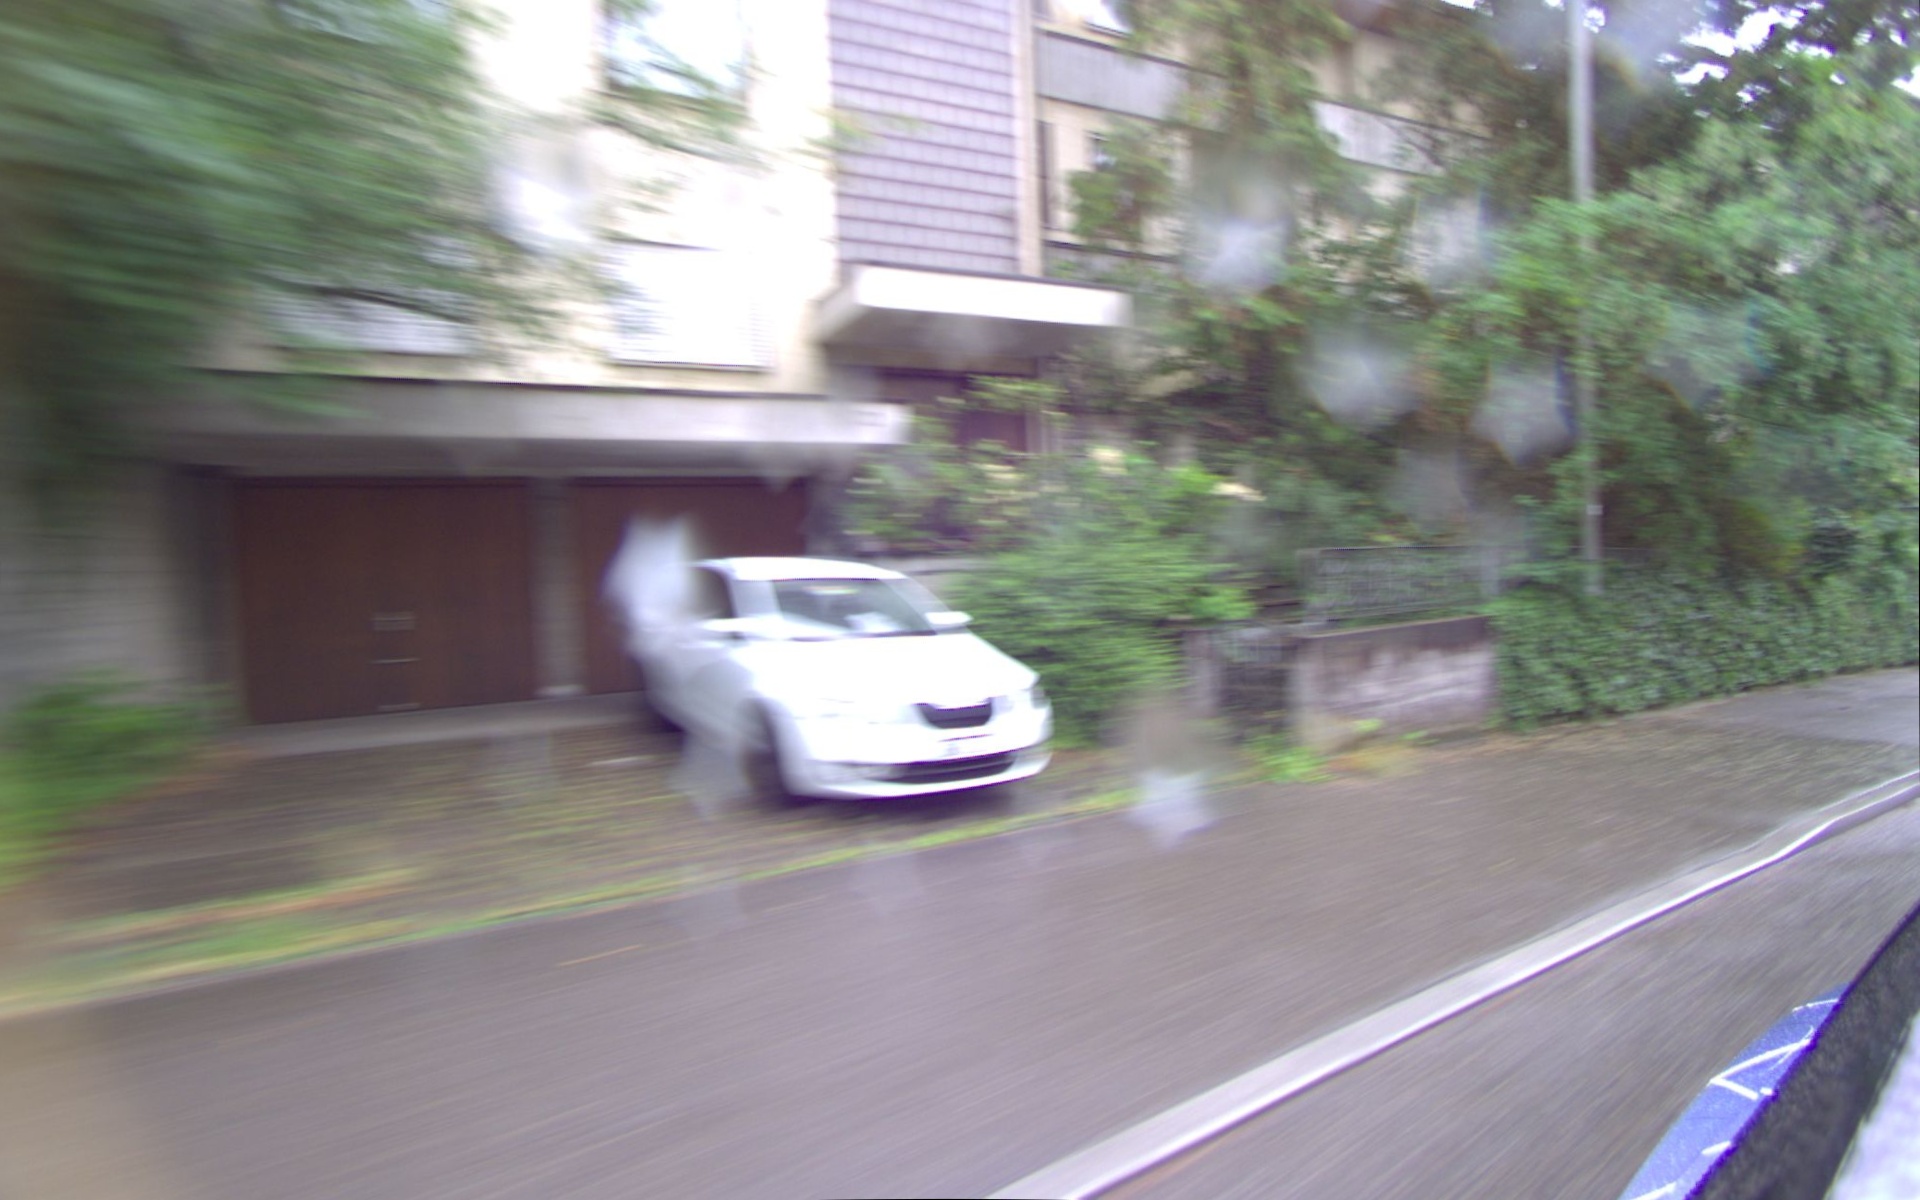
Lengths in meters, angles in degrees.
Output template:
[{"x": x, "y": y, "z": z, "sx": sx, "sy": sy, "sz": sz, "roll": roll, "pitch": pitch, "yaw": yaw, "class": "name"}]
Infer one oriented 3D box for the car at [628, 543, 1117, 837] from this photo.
[{"x": -0.951, "y": 0.363, "z": 7.507, "sx": 1.867, "sy": 1.494, "sz": 4.161, "roll": 0, "pitch": 3, "yaw": -33, "class": "car"}]
